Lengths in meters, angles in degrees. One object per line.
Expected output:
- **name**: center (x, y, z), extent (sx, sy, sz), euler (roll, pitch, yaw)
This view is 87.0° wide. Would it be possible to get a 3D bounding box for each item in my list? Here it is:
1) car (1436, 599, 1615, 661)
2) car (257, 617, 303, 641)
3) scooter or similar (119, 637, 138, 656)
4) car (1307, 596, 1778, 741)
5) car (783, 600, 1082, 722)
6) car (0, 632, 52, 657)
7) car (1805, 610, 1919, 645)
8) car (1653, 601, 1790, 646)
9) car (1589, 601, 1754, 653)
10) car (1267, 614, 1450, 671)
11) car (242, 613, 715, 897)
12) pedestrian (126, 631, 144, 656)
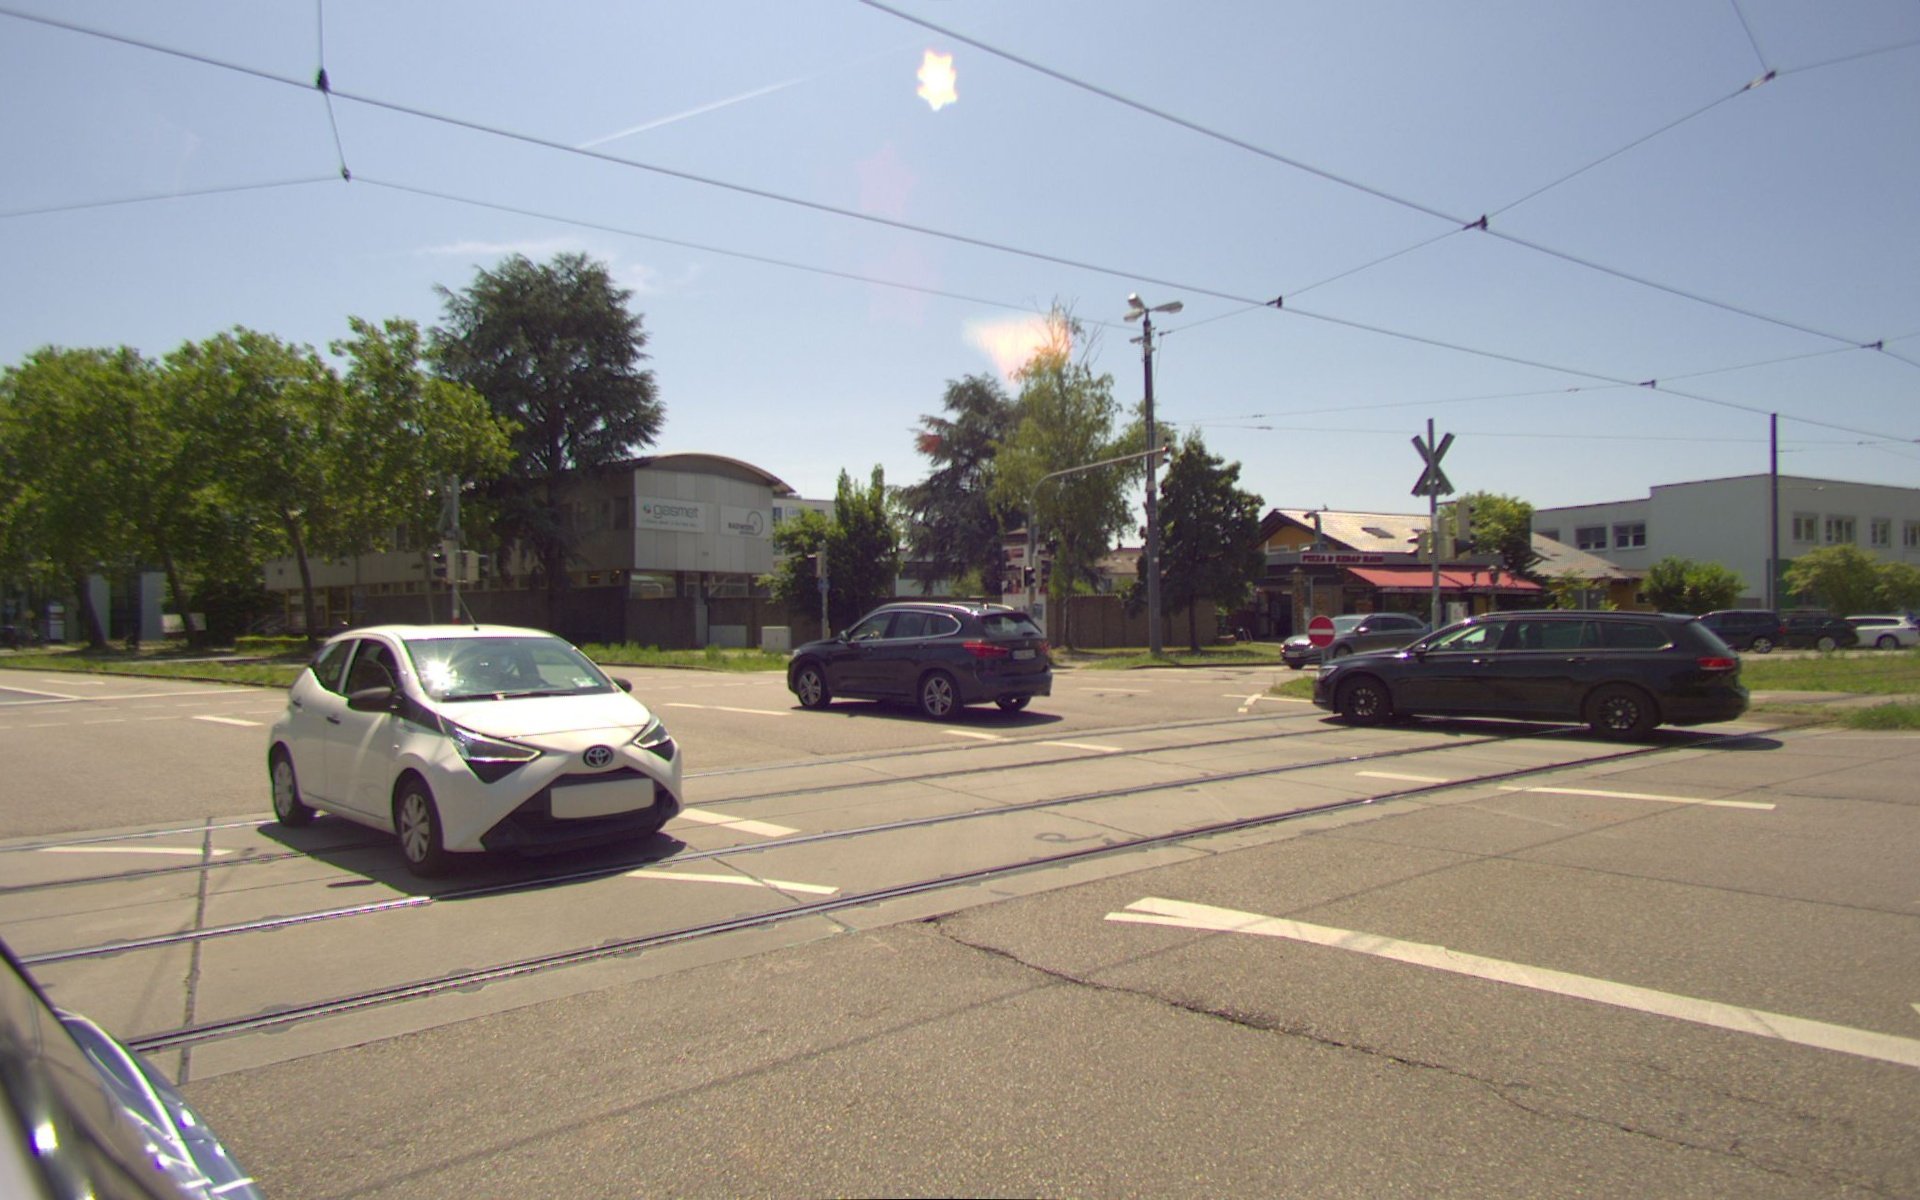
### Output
- **car**: center (16.415, 0.847, 29.417), extent (4.384, 1.617, 2.224), euler (-1, -1, -22)
- **car**: center (-52.200, 2.217, 77.685), extent (3.521, 1.659, 1.799), euler (-1, 1, 37)
- **scooter or similar**: center (-53.273, 2.961, 64.827), extent (0.855, 1.172, 0.674), euler (-2, -1, 28)
- **car**: center (6.966, 0.747, 12.433), extent (4.742, 1.451, 1.929), euler (-2, -2, 40)
- **car**: center (-0.518, 0.818, 14.985), extent (4.297, 1.550, 1.889), euler (-2, -1, 41)
- **car**: center (-66.127, 3.101, 70.763), extent (1.886, 1.692, 4.453), euler (-1, -1, -11)
- **car**: center (38.310, 1.154, 42.662), extent (4.059, 1.434, 1.920), euler (-2, -2, 41)
- **car**: center (29.750, 0.932, 39.659), extent (4.188, 1.663, 1.761), euler (-2, -1, 38)
- **car**: center (24.578, 0.953, 35.078), extent (4.562, 1.663, 1.761), euler (-2, -2, 38)
- **car**: center (10.750, 1.104, 27.287), extent (4.589, 1.391, 1.894), euler (0, -1, -24)
- **car**: center (-3.472, 0.851, 7.019), extent (3.648, 1.456, 1.602), euler (-2, -2, 40)
- **pedestrian**: center (-52.540, 2.765, 64.445), extent (0.787, 1.572, 0.638), euler (-2, -1, 27)
